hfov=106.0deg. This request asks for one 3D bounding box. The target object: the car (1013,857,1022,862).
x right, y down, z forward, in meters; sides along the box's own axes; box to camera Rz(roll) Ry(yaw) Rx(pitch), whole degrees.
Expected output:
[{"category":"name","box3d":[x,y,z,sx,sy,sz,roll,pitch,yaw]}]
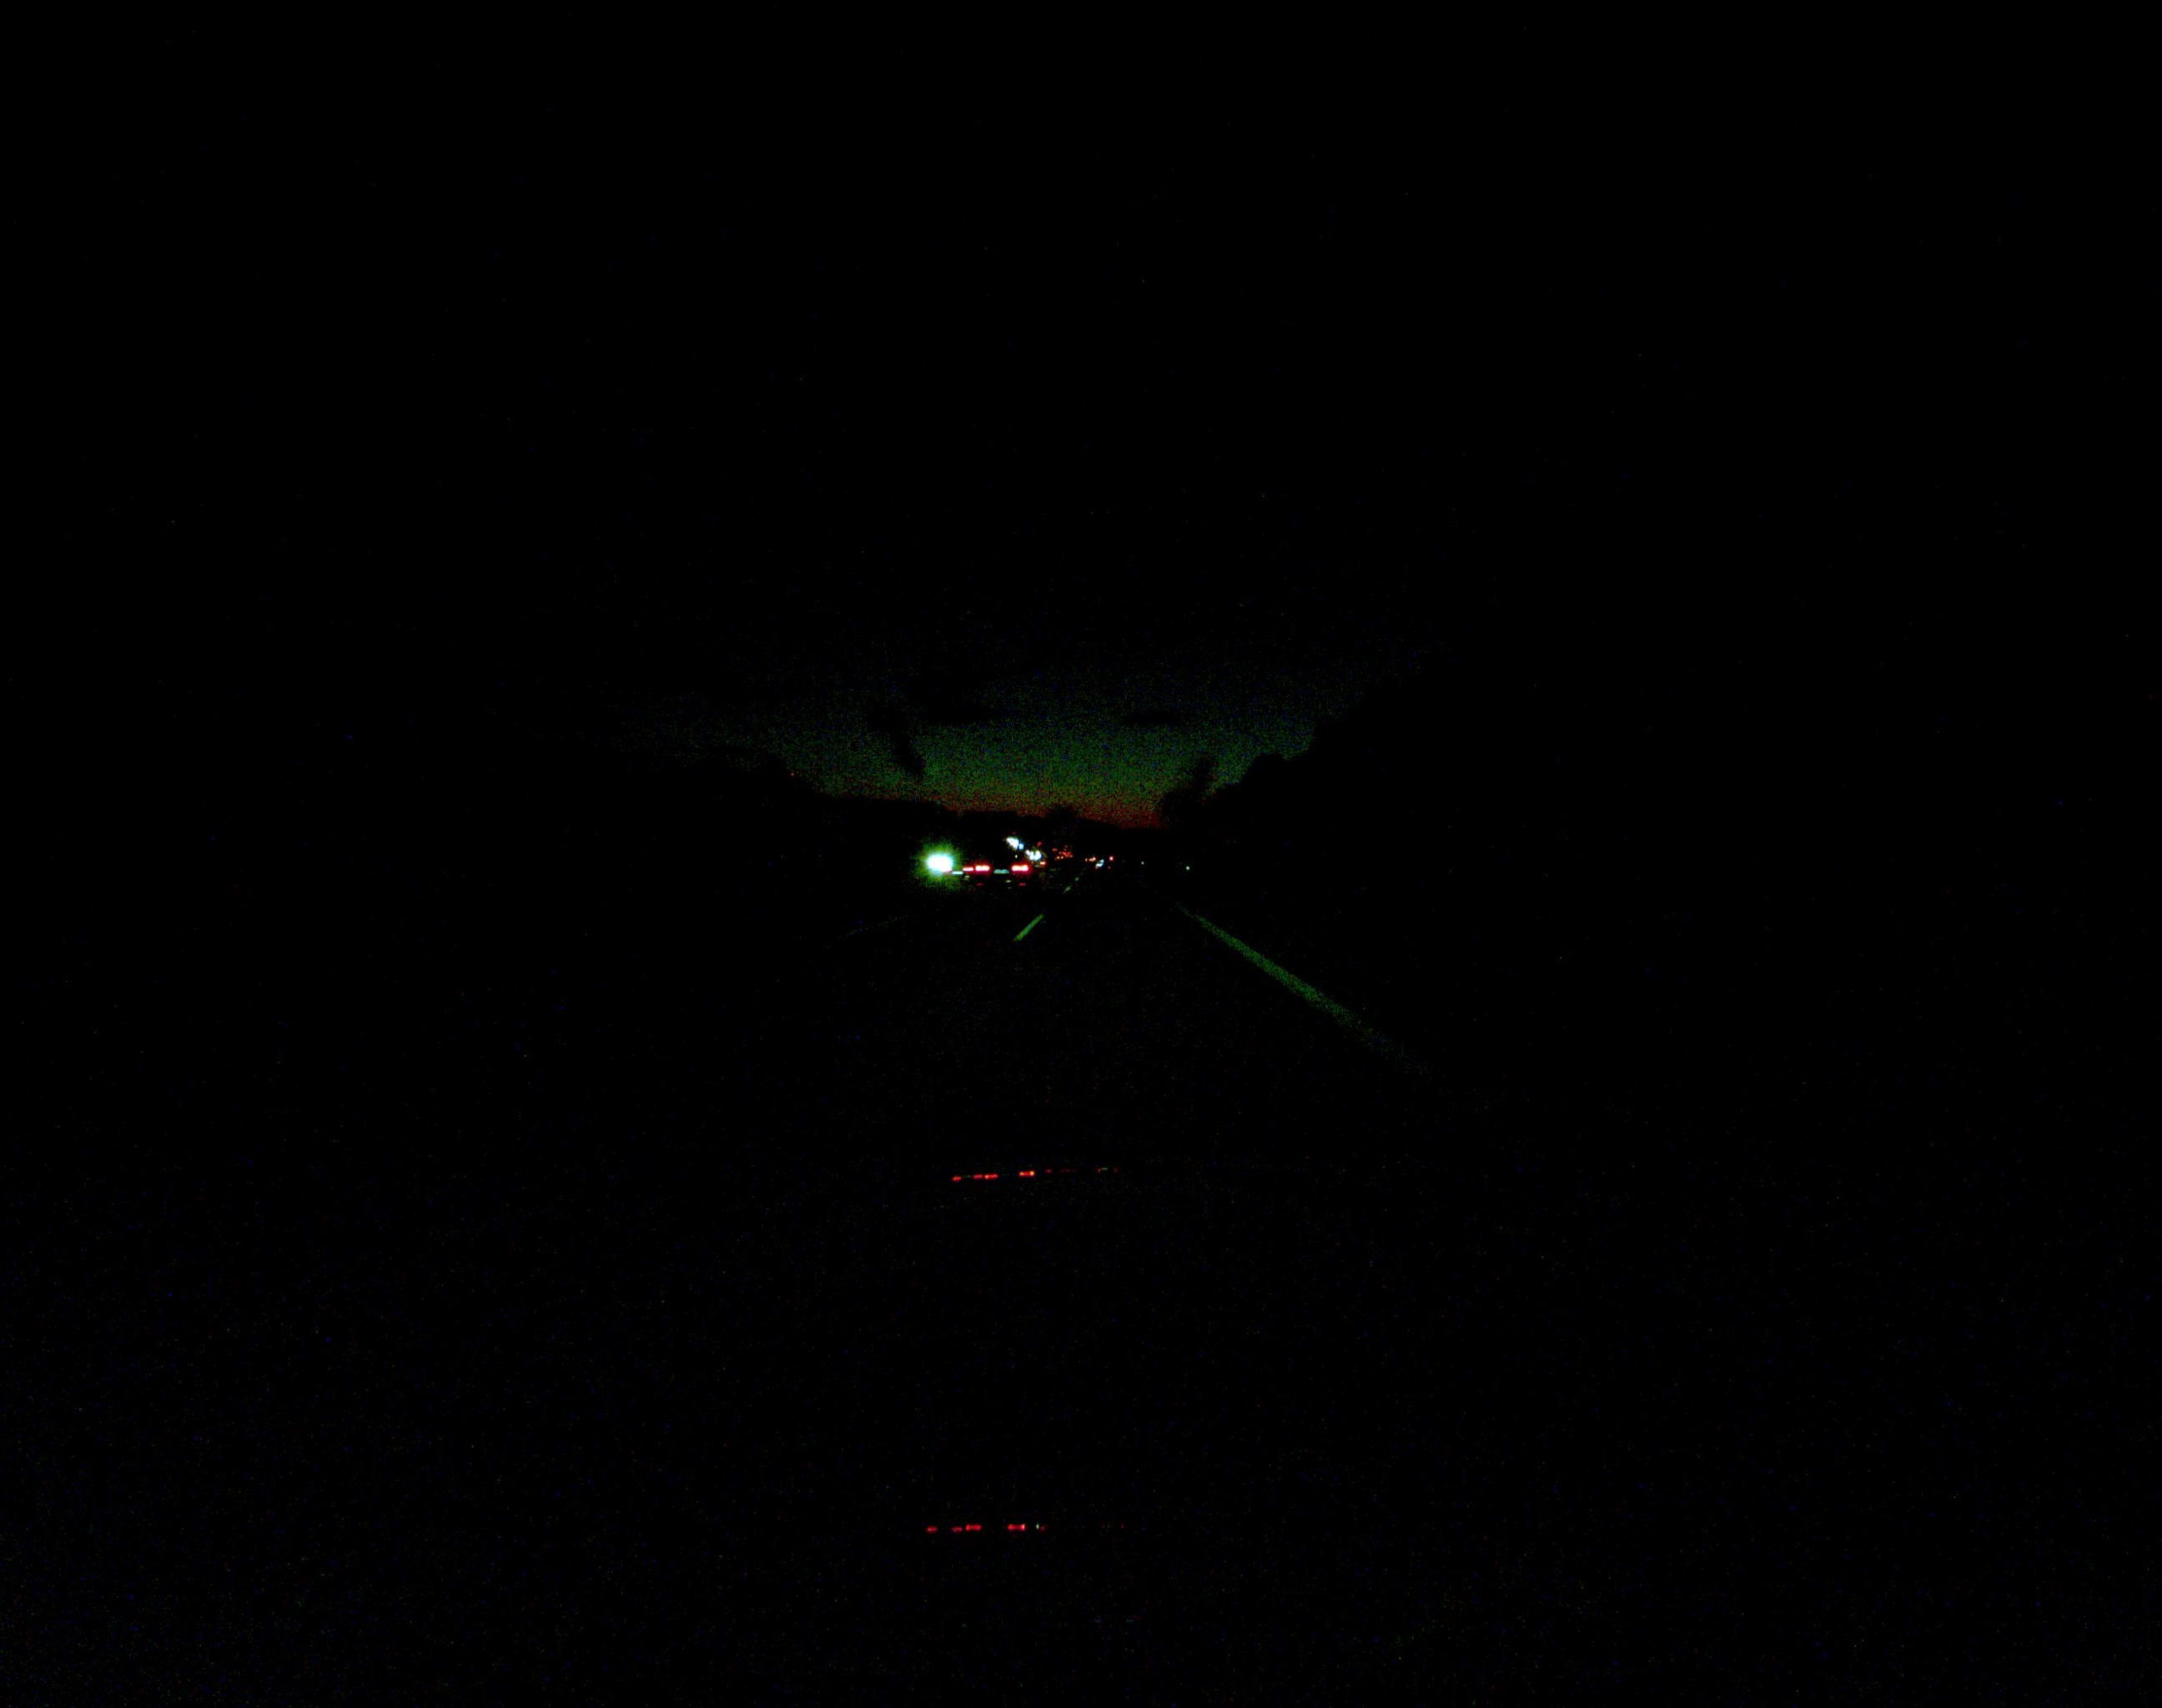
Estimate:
[{"category":"car","box3d":[-18.783,1.621,241.316,1.987,1.509,5.184,0,0,0]}]

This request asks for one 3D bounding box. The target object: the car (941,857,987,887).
[{"category":"car","box3d":[-6.169,0.921,43.370,1.544,1.431,5.514,-1,0,1]}]

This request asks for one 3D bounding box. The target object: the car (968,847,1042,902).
[{"category":"car","box3d":[-2.621,0.691,29.597,1.986,1.721,5.943,-1,0,1]}]

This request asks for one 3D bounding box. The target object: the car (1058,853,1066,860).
[{"category":"car","box3d":[-6.015,0.749,261.589,2.188,1.955,4.637,2,1,3]}]

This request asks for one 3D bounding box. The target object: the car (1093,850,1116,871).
[{"category":"car","box3d":[2.282,0.601,79.333,2.188,1.955,4.765,-1,1,1]}]

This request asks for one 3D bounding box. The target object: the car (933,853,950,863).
[{"category":"car","box3d":[-20.362,0.557,119.042,1.988,1.509,3.997,0,0,-2]}]

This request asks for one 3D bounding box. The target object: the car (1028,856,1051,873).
[{"category":"car","box3d":[-4.232,1.066,84.427,1.772,1.486,5.258,2,1,3]}]
